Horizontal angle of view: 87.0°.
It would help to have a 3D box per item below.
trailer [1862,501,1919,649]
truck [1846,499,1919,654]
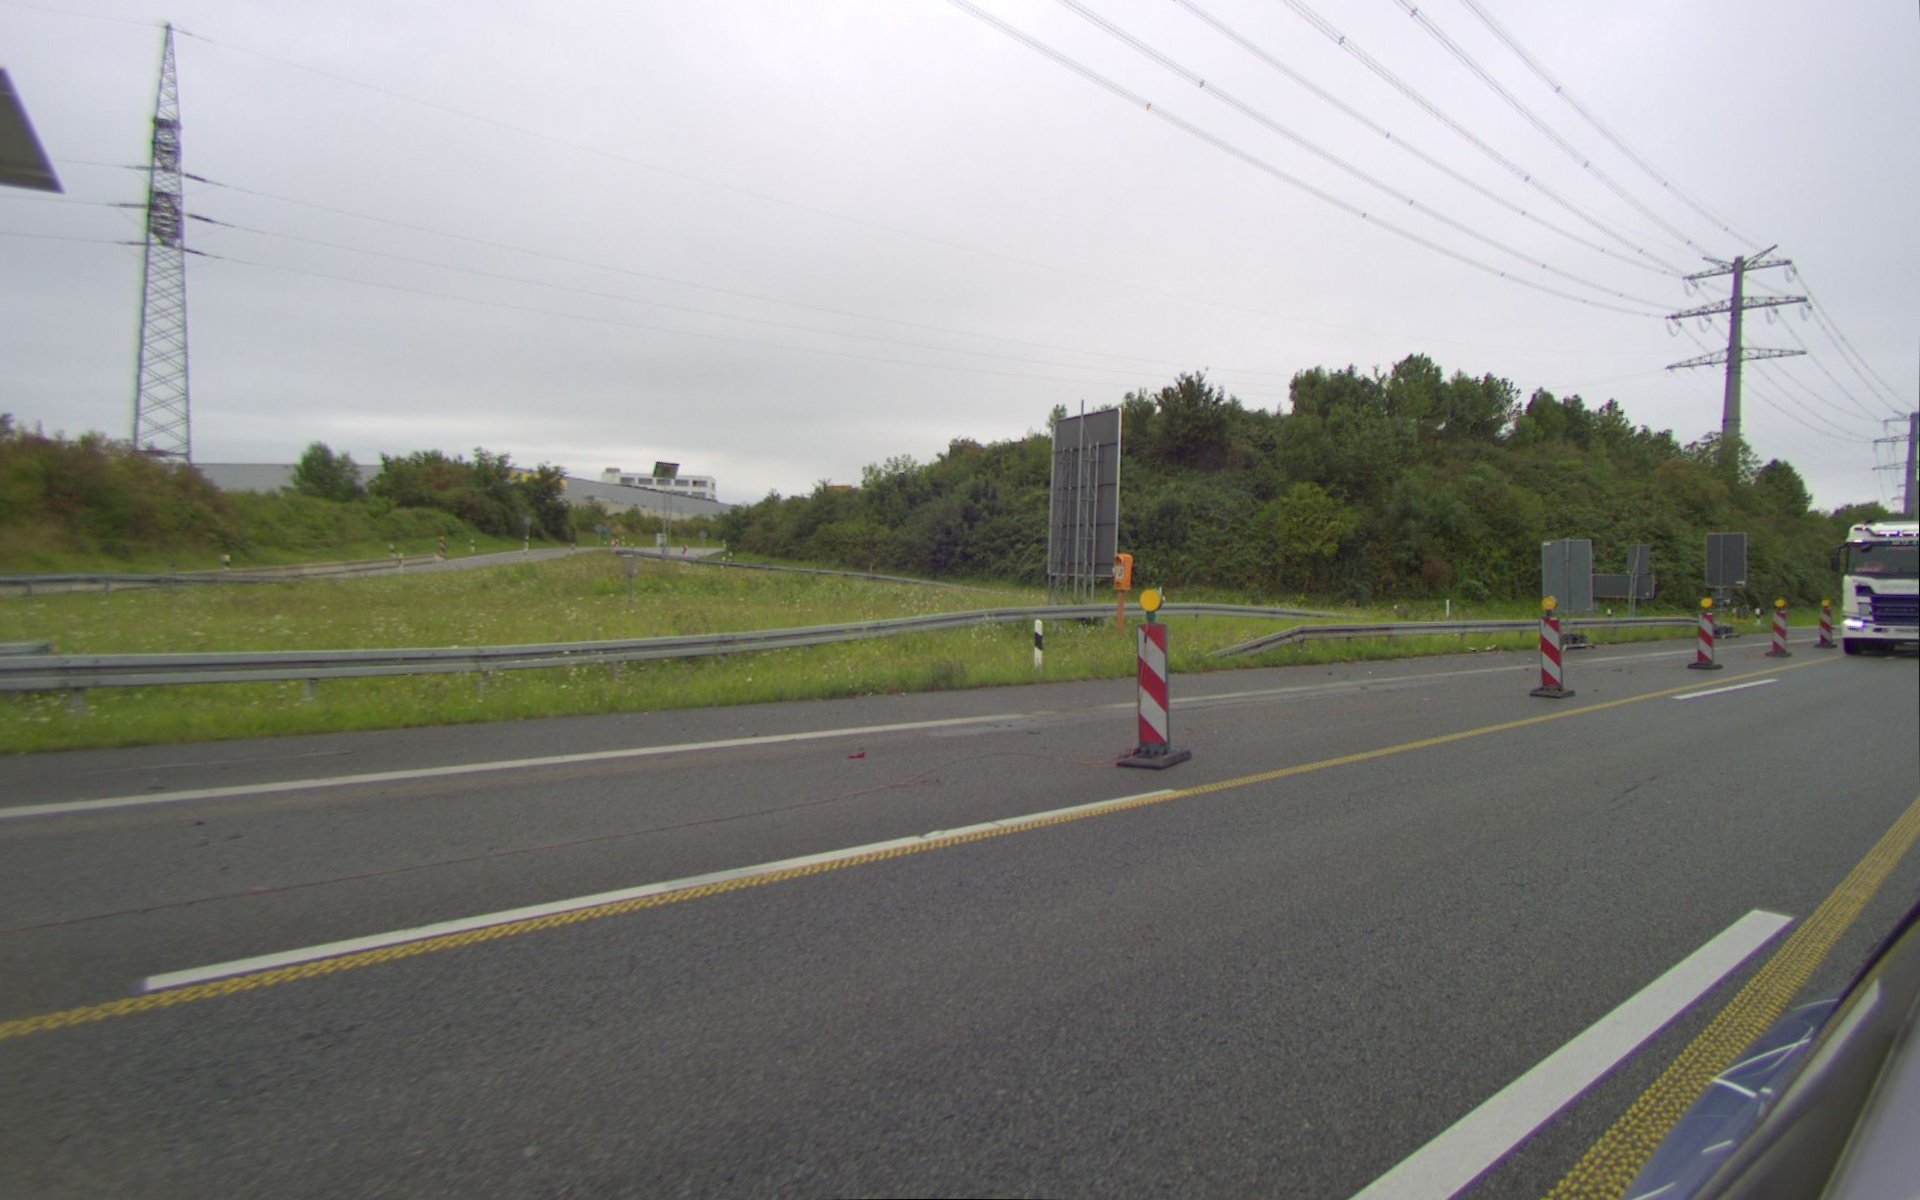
[{"bbox_3d":[31.759,-0.783,32.318,13.905,4.053,2.806,-1,1,-41],"label":"trailer"},{"bbox_3d":[26.616,-0.646,27.831,5.304,3.984,2.746,-1,1,-41],"label":"truck"}]
